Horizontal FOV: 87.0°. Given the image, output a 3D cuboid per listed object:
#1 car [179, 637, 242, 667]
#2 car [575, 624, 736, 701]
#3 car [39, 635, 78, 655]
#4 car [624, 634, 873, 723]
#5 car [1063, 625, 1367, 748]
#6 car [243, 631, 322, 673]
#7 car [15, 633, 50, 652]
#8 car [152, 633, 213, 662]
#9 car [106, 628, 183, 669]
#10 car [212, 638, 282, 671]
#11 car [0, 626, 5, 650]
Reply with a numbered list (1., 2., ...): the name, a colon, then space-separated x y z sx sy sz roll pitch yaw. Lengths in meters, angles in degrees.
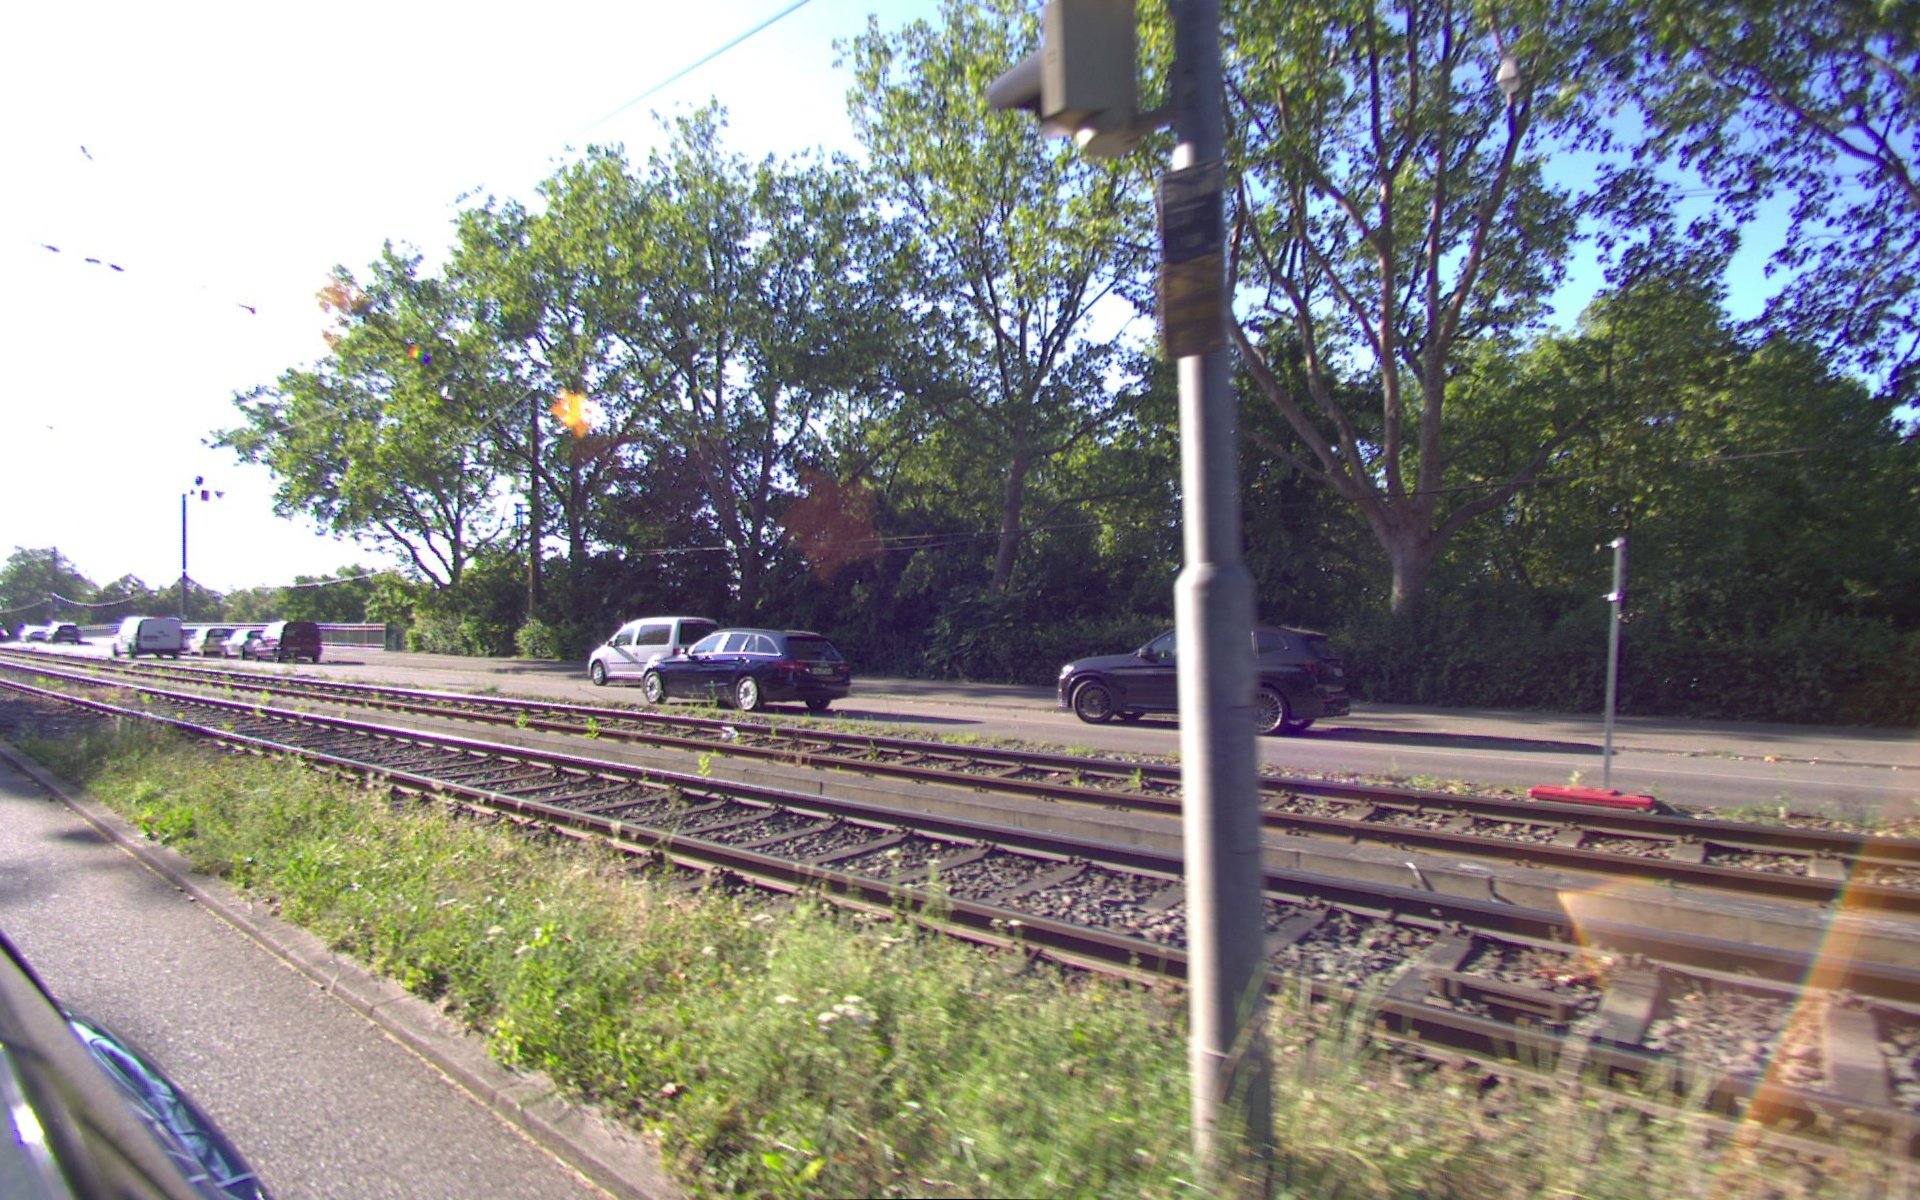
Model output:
1. car: -38.108 2.643 51.407 3.781 1.453 1.638 -1 -4 39
2. car: -8.009 1.578 26.483 4.388 1.855 1.809 -1 -4 38
3. car: -69.777 3.489 78.326 3.922 1.511 1.637 -2 -4 40
4. car: -3.982 1.379 18.655 4.744 1.426 1.901 -1 -4 39
5. car: 4.005 1.290 16.195 4.383 1.732 1.812 -1 -3 34
6. car: -29.745 2.276 44.423 3.895 1.753 1.713 -1 -4 38
7. car: -78.681 3.587 85.816 3.922 1.511 1.637 -2 -4 40
8. car: -42.200 2.546 54.905 3.920 1.511 1.638 -1 -4 38
9. car: -38.378 2.256 47.588 5.032 1.866 1.808 -1 -4 40
10. car: -33.818 2.573 47.992 3.780 1.453 1.638 -1 -4 38
11. car: -79.037 3.041 81.871 4.958 1.866 1.963 -1 -4 40
